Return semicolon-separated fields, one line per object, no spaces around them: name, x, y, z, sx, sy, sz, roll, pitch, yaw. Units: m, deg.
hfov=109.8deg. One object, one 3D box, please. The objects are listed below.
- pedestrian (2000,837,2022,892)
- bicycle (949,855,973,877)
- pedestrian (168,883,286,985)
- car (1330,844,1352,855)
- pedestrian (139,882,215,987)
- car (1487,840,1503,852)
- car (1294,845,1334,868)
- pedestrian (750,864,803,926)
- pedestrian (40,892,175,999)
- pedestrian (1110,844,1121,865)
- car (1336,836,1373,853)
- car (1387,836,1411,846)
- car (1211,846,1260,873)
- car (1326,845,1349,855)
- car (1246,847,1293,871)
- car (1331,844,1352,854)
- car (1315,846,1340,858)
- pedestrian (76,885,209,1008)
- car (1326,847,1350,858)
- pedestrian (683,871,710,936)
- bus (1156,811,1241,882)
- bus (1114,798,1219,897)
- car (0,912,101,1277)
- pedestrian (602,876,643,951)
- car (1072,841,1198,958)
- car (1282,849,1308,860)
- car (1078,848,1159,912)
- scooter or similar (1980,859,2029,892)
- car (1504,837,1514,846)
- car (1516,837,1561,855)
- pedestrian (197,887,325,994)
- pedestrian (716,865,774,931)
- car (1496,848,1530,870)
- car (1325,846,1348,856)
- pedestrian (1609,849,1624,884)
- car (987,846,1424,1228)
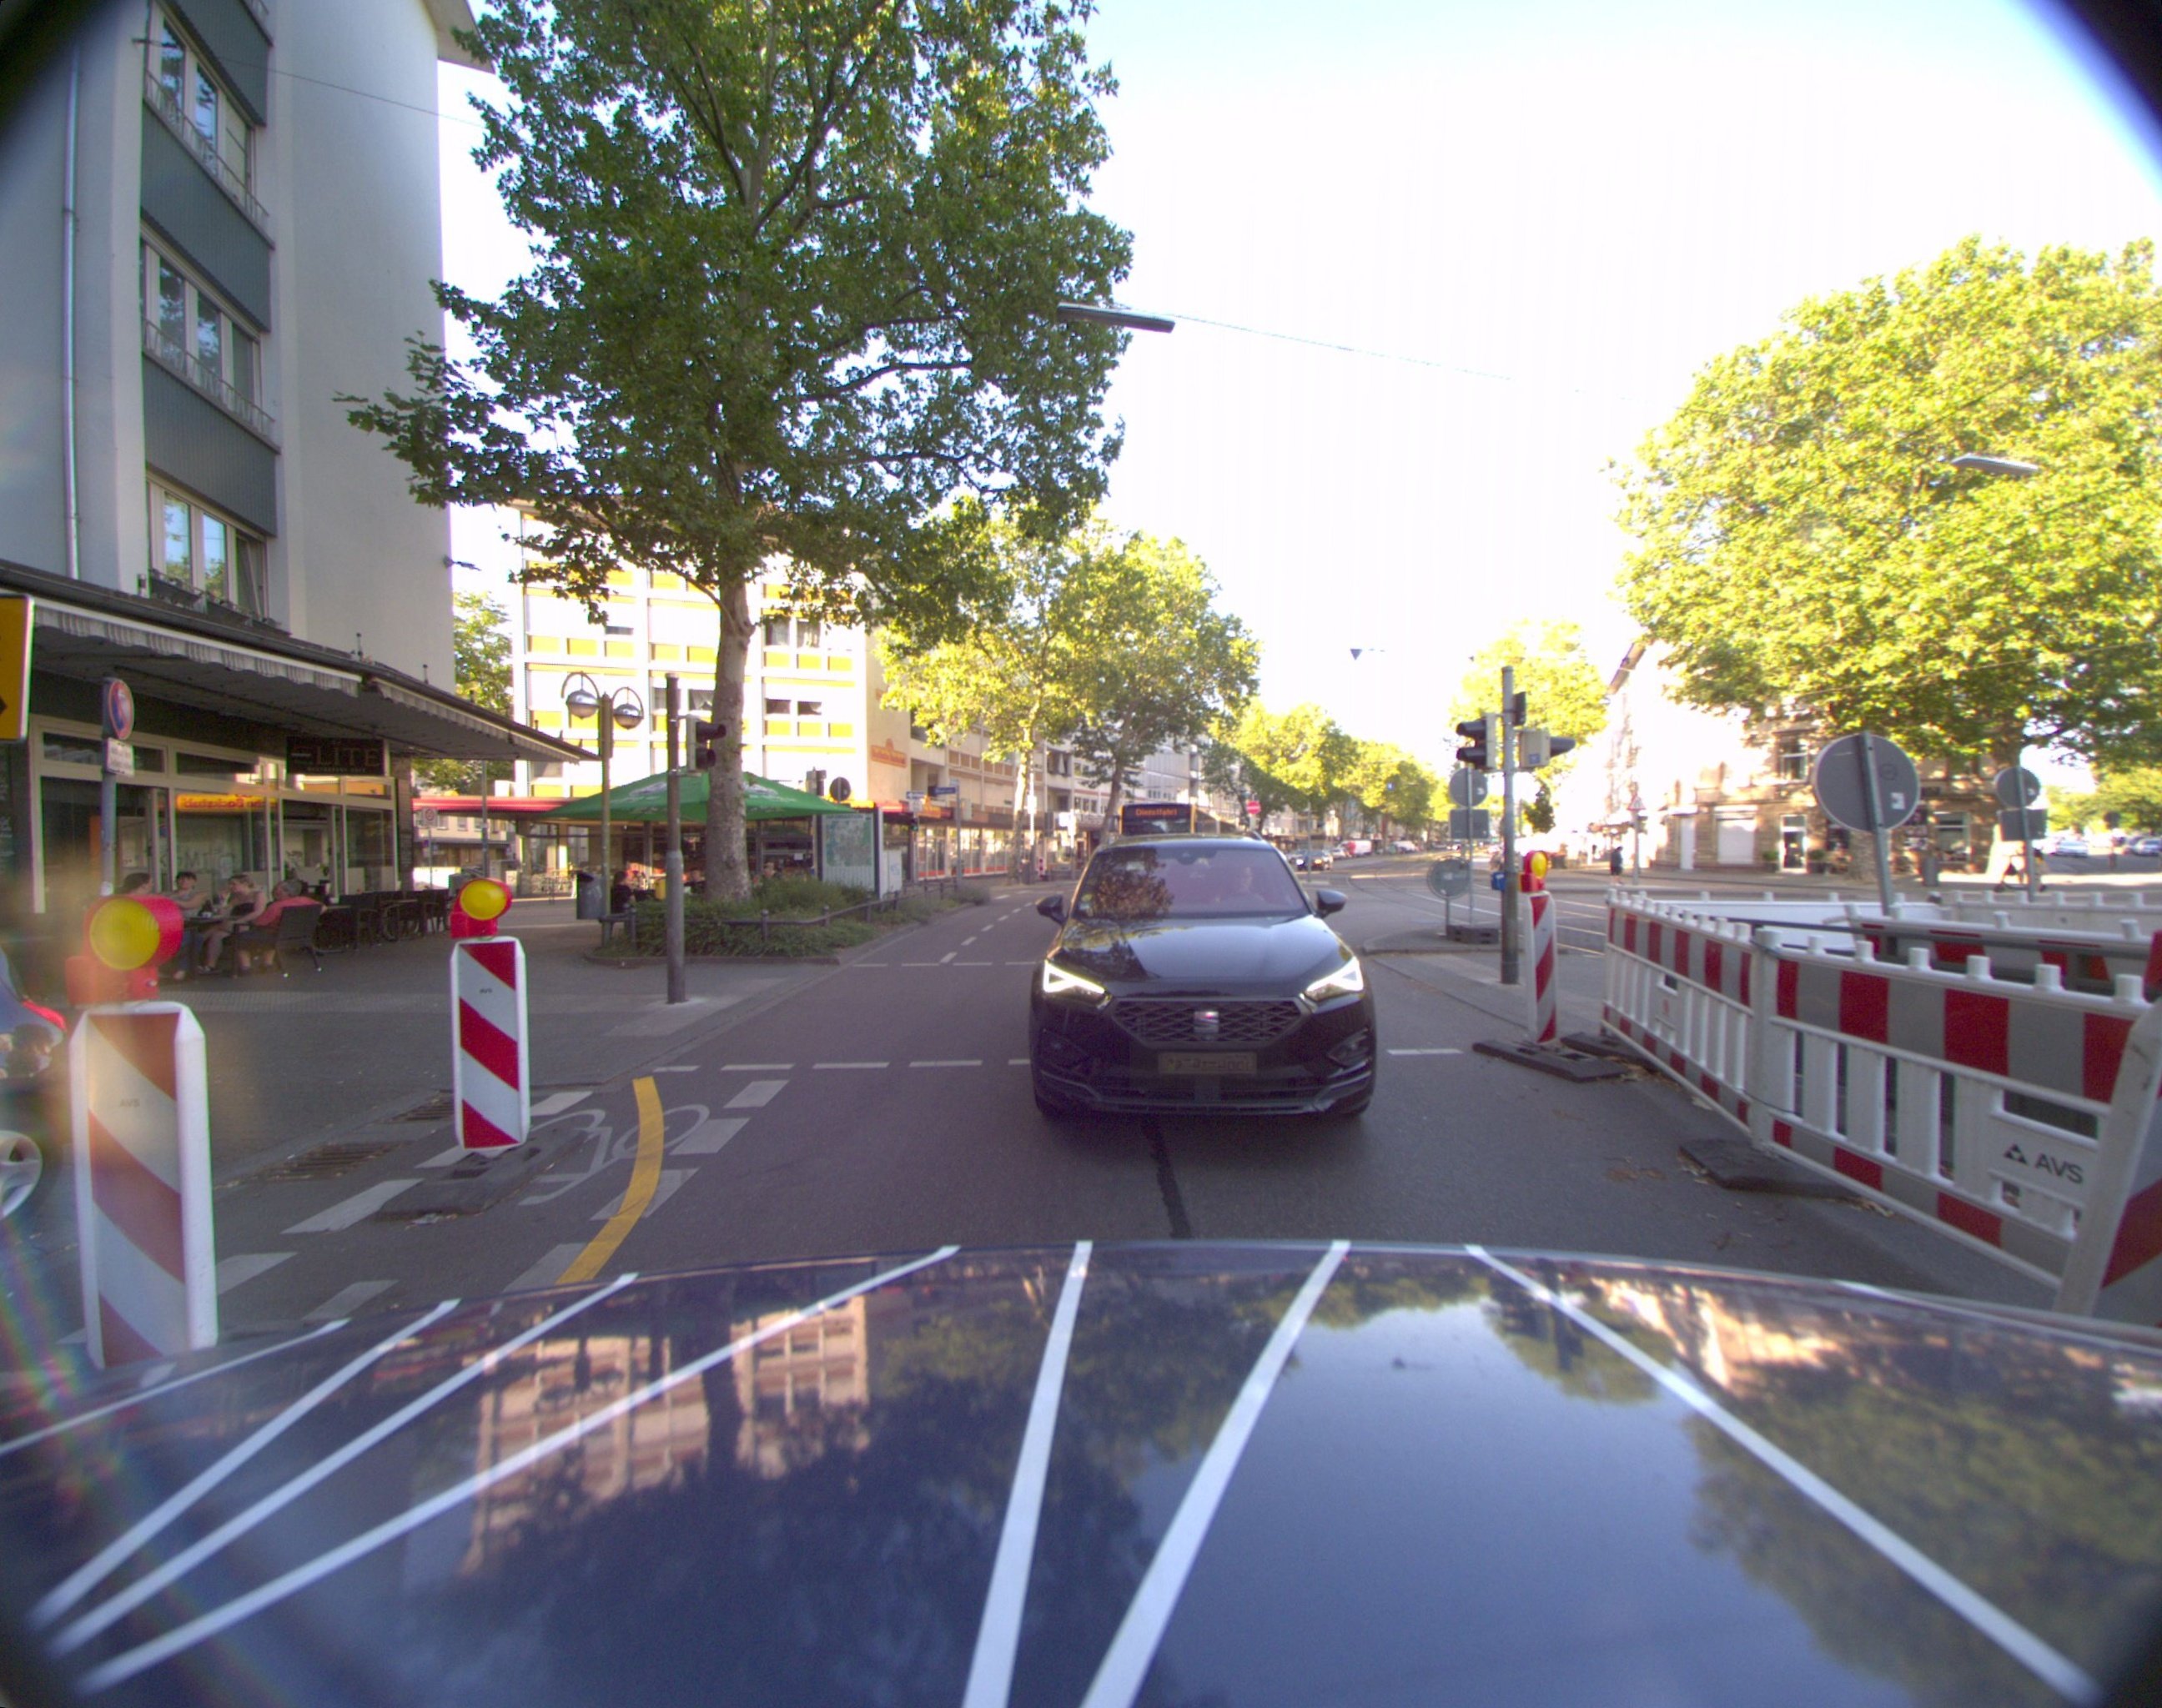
pedestrian;30.015;0.322;24.517;0.355;1.757;0.418;-2;2;-41
bicycle;-6.648;0.659;42.189;0.528;1.136;1.976;0;1;15
pedestrian;-10.691;0.976;9.539;0.666;1.211;0.717;0;0;-5
car;35.652;-0.642;104.391;2.627;1.380;1.201;-1;2;3
pedestrian;-11.241;0.976;9.452;0.519;1.236;0.553;0;0;34
car;65.288;-1.314;119.764;1.994;1.856;4.007;0;1;31
car;16.476;0.151;53.630;1.952;1.467;4.764;0;2;26
pedestrian;-6.536;0.870;16.342;0.718;1.278;0.769;-1;1;13
pedestrian;-11.085;1.017;8.683;0.718;1.123;0.649;1;0;-24
pedestrian;2.773;0.029;61.377;0.658;1.632;0.660;0;1;26
car;40.699;-1.415;113.243;4.868;2.362;1.878;-1;2;-10
car;64.407;-2.613;153.979;4.000;2.002;1.879;-1;1;-8
car;9.463;0.309;46.354;1.908;1.467;4.425;0;2;26
car;34.112;-0.488;101.070;2.627;1.274;1.201;-1;2;3
car;13.722;0.311;55.152;1.952;1.541;4.765;0;2;31
car;36.773;-0.704;107.249;2.627;1.338;1.201;-1;2;3
car;29.842;-0.245;91.987;2.627;1.464;1.201;-1;2;3
pedestrian;-10.219;0.975;8.308;0.651;1.244;0.716;0;0;-24
car;32.281;-0.229;95.382;2.627;1.274;1.201;-1;2;3
pedestrian;-7.407;0.946;14.641;0.433;1.212;0.467;0;1;-29
bus;6.082;-0.371;37.878;2.749;3.085;9.508;0;1;17
bus;3.540;-0.252;28.765;2.750;3.085;9.506;0;1;14
car;-5.152;0.990;1.582;1.623;1.457;3.604;2;0;-2
pedestrian;-7.811;0.999;12.941;0.469;1.212;0.431;-2;1;-44
car;0.973;0.631;12.938;1.743;1.630;4.300;-2;0;6
car;23.969;0.068;85.161;2.629;1.210;1.200;-1;2;-6
car;1.110;0.606;20.302;1.743;1.492;4.301;-2;0;8
scooter or similar;29.738;0.670;24.479;0.309;1.033;0.979;-2;1;-40
car;94.485;-2.786;167.694;1.903;1.893;4.007;0;1;29
car;52.258;-0.912;86.818;3.999;1.904;1.998;-1;1;-7
pedestrian;-9.846;1.010;9.159;0.847;1.191;0.649;0;0;-22
pedestrian;-6.804;0.874;15.418;0.718;1.278;0.769;-1;1;14
car;29.320;0.300;51.606;1.880;1.401;4.007;0;1;28
car;32.961;-0.398;97.970;2.627;1.274;1.201;-1;2;3
pedestrian;20.140;0.474;28.576;0.365;1.301;0.402;0;1;18
car;0.683;0.798;5.464;1.848;1.648;4.300;-2;0;4
